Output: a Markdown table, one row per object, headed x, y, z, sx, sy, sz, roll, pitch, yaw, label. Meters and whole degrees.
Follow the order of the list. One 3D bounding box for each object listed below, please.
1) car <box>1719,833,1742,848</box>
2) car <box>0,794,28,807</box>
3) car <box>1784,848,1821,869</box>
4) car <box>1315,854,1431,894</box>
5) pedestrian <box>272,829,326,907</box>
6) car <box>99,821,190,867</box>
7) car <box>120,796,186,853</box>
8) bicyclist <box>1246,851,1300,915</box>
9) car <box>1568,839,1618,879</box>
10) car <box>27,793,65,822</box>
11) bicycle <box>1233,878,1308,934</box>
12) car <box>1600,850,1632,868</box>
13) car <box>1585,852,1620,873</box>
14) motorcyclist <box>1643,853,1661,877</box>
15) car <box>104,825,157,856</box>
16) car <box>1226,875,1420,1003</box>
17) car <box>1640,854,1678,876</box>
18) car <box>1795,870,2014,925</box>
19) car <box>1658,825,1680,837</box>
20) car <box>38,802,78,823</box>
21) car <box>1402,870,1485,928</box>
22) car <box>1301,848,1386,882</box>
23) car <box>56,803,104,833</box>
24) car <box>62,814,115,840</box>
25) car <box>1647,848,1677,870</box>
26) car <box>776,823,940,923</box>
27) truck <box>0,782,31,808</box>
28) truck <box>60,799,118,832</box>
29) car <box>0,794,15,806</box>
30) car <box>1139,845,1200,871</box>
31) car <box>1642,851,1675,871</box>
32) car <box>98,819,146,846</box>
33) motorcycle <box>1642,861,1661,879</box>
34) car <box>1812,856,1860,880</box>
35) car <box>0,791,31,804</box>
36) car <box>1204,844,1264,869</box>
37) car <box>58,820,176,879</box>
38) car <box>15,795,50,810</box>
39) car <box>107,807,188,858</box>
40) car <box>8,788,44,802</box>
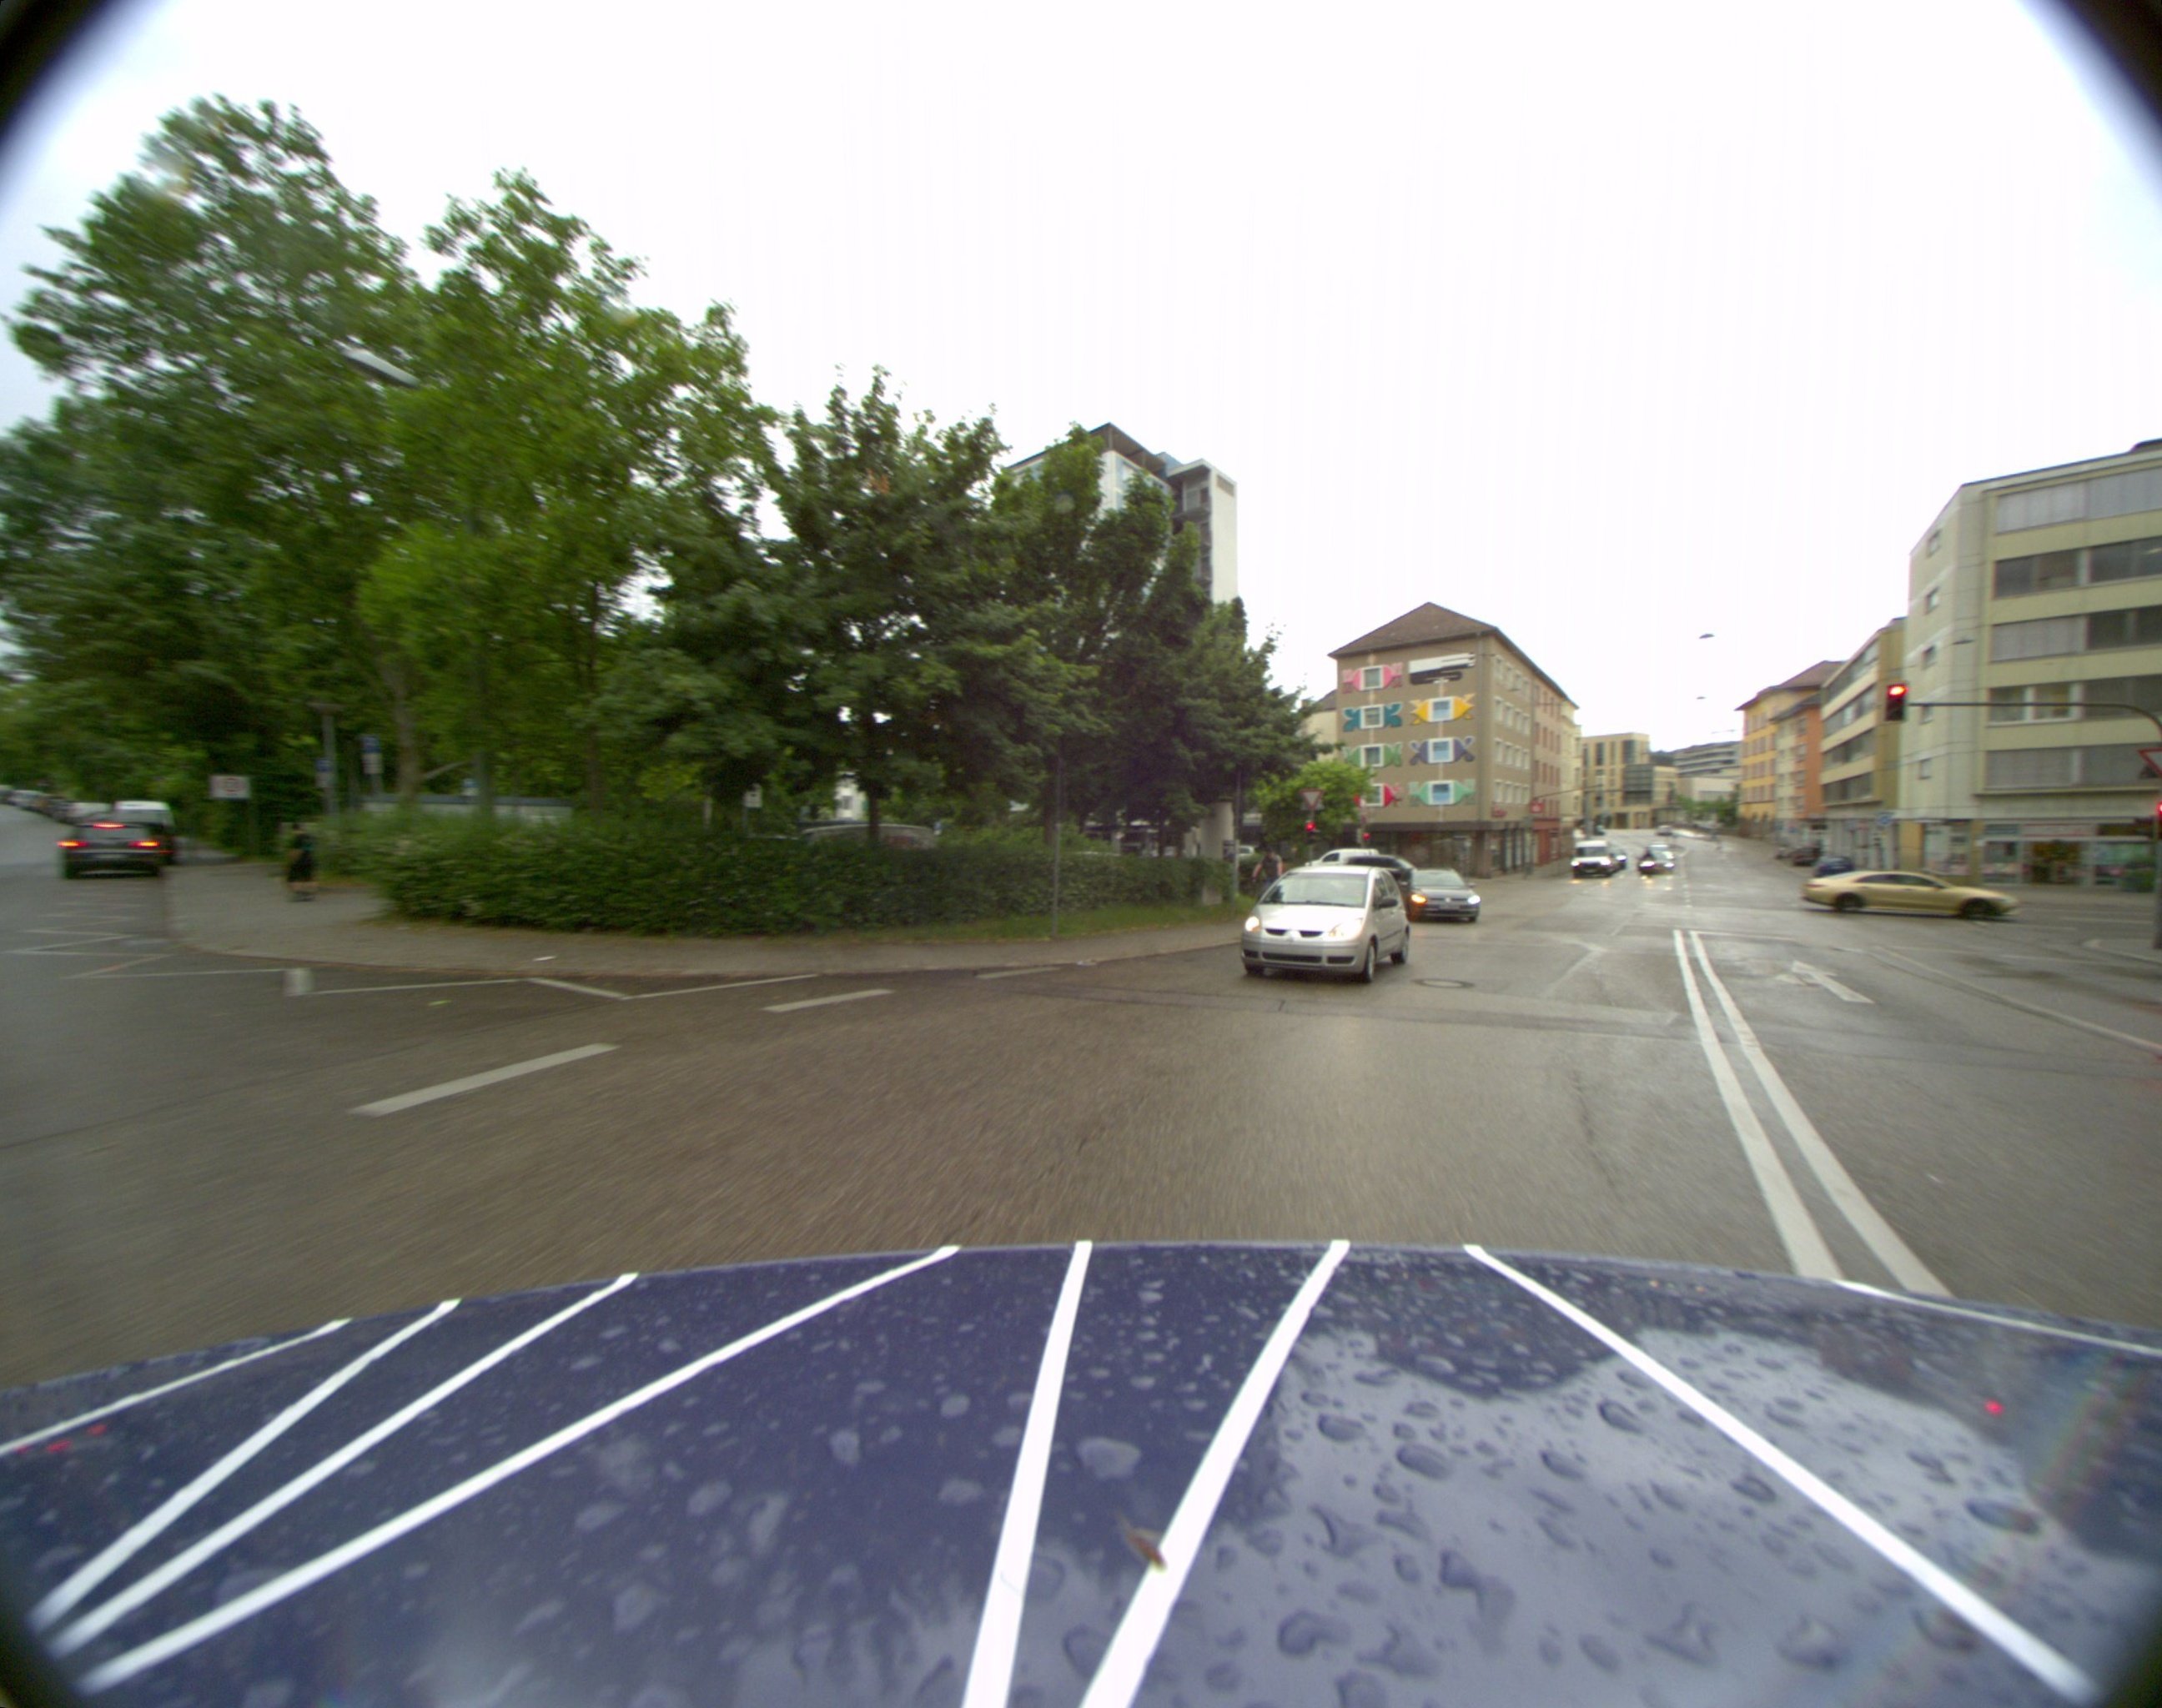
| x | y | z | sx | sy | sz | roll | pitch | yaw | label |
| --- | --- | --- | --- | --- | --- | --- | --- | --- | --- |
| 74.291 | -1.561 | 86.972 | 1.845 | 1.557 | 4.378 | -2 | -1 | 40 | car |
| -136.290 | -6.783 | 96.696 | 3.989 | 1.502 | 1.803 | 1 | 3 | 25 | car |
| 59.476 | 0.351 | 62.699 | 1.845 | 1.557 | 4.378 | -2 | -1 | 40 | car |
| 13.270 | 0.857 | 34.654 | 4.567 | 1.570 | 1.995 | 2 | 2 | 37 | car |
| -16.194 | 0.262 | 15.755 | 0.620 | 1.559 | 0.705 | 4 | 5 | 44 | pedestrian |
| -35.479 | -0.428 | 28.876 | 3.987 | 1.642 | 1.913 | 2 | 3 | 42 | car |
| -57.033 | -1.813 | 46.779 | 5.064 | 3.264 | 2.227 | 2 | 3 | 42 | car |
| 4.674 | 0.680 | 18.471 | 0.886 | 1.481 | 0.971 | 3 | 2 | 39 | bicyclist |
| 34.704 | 0.328 | 51.418 | 2.226 | 2.509 | 5.482 | -1 | 0 | 40 | car |
| -103.660 | -4.614 | 76.068 | 3.988 | 2.775 | 1.912 | 2 | 3 | 33 | car |
| 4.617 | 1.222 | 18.437 | 0.886 | 1.181 | 2.138 | 3 | 2 | 40 | bicycle |
| 44.274 | 0.394 | 62.813 | 1.845 | 1.411 | 3.576 | -2 | -1 | 40 | car |
| 39.682 | 0.609 | 57.747 | 1.845 | 1.469 | 3.576 | -2 | -1 | 40 | car |
| 36.286 | 0.704 | 48.264 | 0.877 | 1.471 | 0.798 | 1 | 2 | 39 | motorcyclist |
| -64.314 | -0.945 | 51.380 | 3.988 | 2.024 | 1.913 | 2 | 3 | 35 | car |
| 3.666 | 1.073 | 11.052 | 1.683 | 1.495 | 3.848 | 0 | -2 | 34 | car |
| 39.657 | 0.753 | 52.103 | 1.845 | 1.411 | 3.576 | -2 | -1 | 40 | car |
| 26.613 | 1.340 | 24.854 | 4.567 | 1.433 | 1.995 | 2 | 2 | 38 | car |
| 89.344 | -3.577 | 115.459 | 1.845 | 1.699 | 4.375 | 1 | 3 | 28 | car |
| -96.480 | -3.889 | 71.618 | 3.988 | 1.930 | 1.912 | 2 | 3 | 33 | car |
| 10.482 | 1.242 | 22.228 | 1.684 | 1.495 | 4.509 | -1 | -2 | 19 | car |
| 15.316 | 0.585 | 44.411 | 4.217 | 1.845 | 1.995 | 2 | 2 | 41 | car |
| -87.134 | -3.114 | 66.145 | 3.989 | 2.614 | 1.795 | 1 | 3 | 28 | car |
| -76.532 | -2.057 | 58.598 | 3.988 | 1.930 | 1.912 | 1 | 3 | 30 | car |
| 48.919 | 0.425 | 63.946 | 1.845 | 1.704 | 3.576 | -2 | -1 | 40 | car |
| -5.043 | 0.374 | 16.858 | 4.199 | 1.948 | 1.641 | 0 | -1 | 45 | car |
| -151.477 | -8.242 | 106.789 | 7.979 | 3.429 | 3.004 | 1 | 3 | 25 | truck |
| -82.447 | -3.172 | 63.148 | 3.989 | 2.614 | 2.054 | 1 | 3 | 26 | truck |
| -141.303 | -7.078 | 99.136 | 3.989 | 1.502 | 1.803 | 1 | 3 | 25 | car |
| 6.488 | 0.291 | 56.061 | 4.173 | 1.657 | 1.653 | 3 | 5 | 38 | car |
| 44.371 | 0.542 | 58.366 | 1.845 | 1.411 | 3.576 | -2 | -1 | 40 | car |
| -70.813 | -1.626 | 56.089 | 3.988 | 1.930 | 1.913 | 2 | 3 | 35 | car |
| 36.206 | 0.992 | 48.173 | 0.877 | 1.093 | 1.804 | 1 | 2 | 39 | motorcycle |
| 48.505 | 0.892 | 48.865 | 1.845 | 1.411 | 3.576 | -2 | -1 | 40 | car |
| -128.881 | -6.810 | 91.617 | 3.989 | 1.502 | 1.803 | 1 | 3 | 25 | car |
| 11.656 | 0.142 | 57.898 | 4.173 | 1.657 | 1.653 | 3 | 5 | 38 | car |
| -29.434 | -0.204 | 23.320 | 3.987 | 1.642 | 1.913 | 2 | 3 | 42 | car |
| -109.829 | -5.382 | 79.568 | 3.988 | 1.502 | 1.803 | 1 | 3 | 32 | car |
| -39.843 | -0.935 | 32.519 | 3.987 | 2.064 | 1.913 | 2 | 3 | 42 | car |
| -123.974 | -6.954 | 89.313 | 3.989 | 1.502 | 1.803 | 1 | 3 | 26 | car |
